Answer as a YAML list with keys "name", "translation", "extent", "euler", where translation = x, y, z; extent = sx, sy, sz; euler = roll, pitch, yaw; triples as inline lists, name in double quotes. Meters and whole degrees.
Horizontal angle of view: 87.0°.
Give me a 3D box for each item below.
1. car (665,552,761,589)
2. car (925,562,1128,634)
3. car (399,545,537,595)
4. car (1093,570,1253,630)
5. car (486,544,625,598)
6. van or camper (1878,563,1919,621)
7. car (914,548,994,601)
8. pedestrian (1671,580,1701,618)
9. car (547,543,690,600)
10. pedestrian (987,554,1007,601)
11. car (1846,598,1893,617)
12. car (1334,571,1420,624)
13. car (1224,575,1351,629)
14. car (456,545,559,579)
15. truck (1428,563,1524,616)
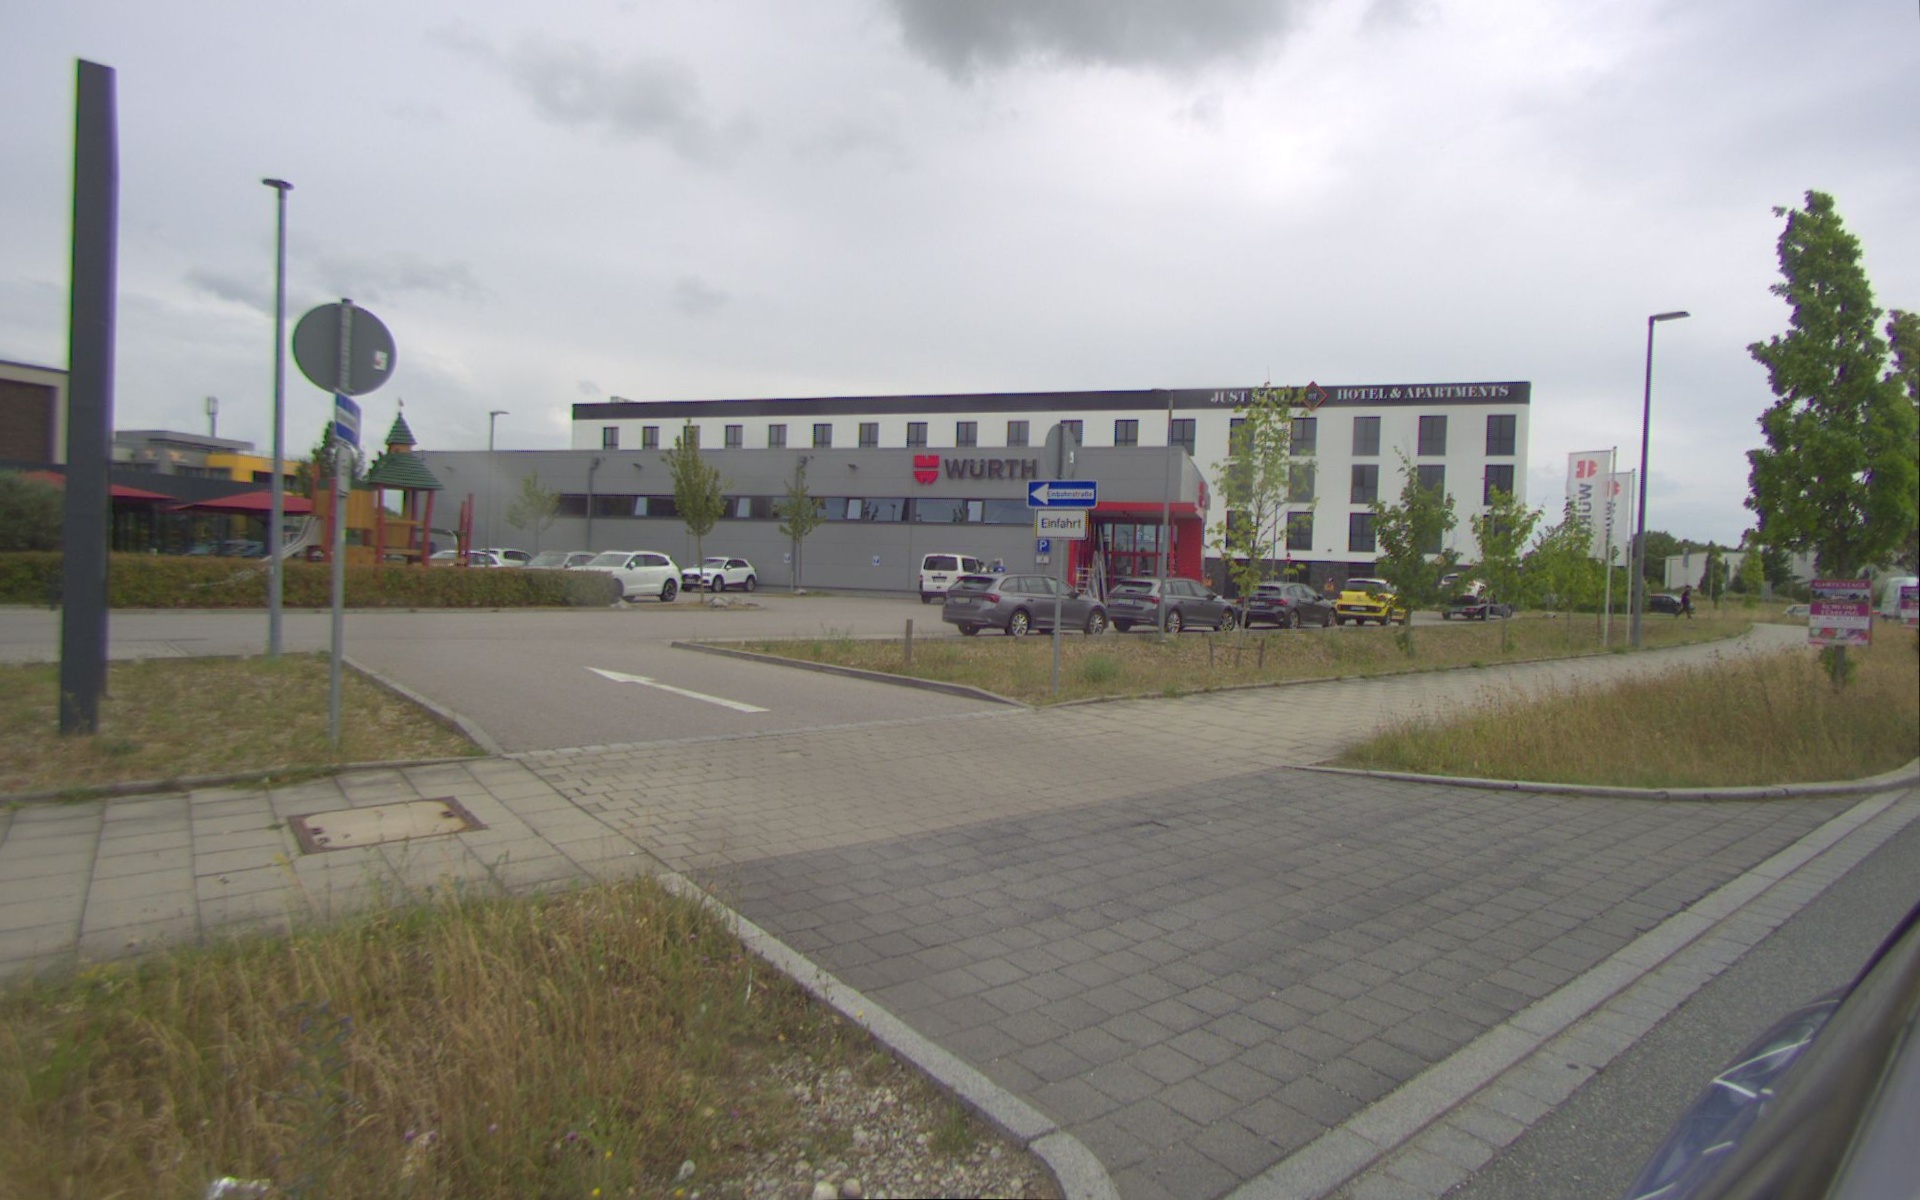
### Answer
- name: "car"
  translation: [-11.226, -1.341, 46.341]
  extent: [2.056, 1.537, 4.546]
  euler: [3, 2, 21]
- name: "car"
  translation: [1.639, -0.054, 23.588]
  extent: [4.749, 1.478, 1.965]
  euler: [0, 2, -42]
- name: "car"
  translation: [-17.557, -1.059, 36.341]
  extent: [1.961, 1.649, 4.299]
  euler: [2, 1, 20]
- name: "car"
  translation: [5.815, -0.013, 27.252]
  extent: [4.800, 1.455, 1.865]
  euler: [0, 2, -45]
- name: "car"
  translation: [-13.754, -0.978, 34.711]
  extent: [2.104, 1.699, 4.515]
  euler: [2, 1, 16]
- name: "van or camper"
  translation: [45.800, -0.335, 47.526]
  extent: [2.242, 2.649, 5.650]
  euler: [2, 1, 24]
- name: "car"
  translation: [-0.173, -1.037, 41.706]
  extent: [1.973, 2.012, 4.611]
  euler: [2, 1, 17]
- name: "pedestrian"
  translation: [37.251, -0.079, 51.948]
  extent: [1.188, 1.880, 1.061]
  euler: [3, 3, 35]
- name: "car"
  translation: [-11.258, -0.940, 33.747]
  extent: [1.975, 1.718, 4.762]
  euler: [2, 1, 20]
- name: "pedestrian"
  translation: [1.517, -0.913, 41.247]
  extent: [0.605, 1.892, 0.798]
  euler: [1, 1, 14]
- name: "car"
  translation: [71.301, 0.564, 79.392]
  extent: [1.772, 1.337, 3.962]
  euler: [1, 1, 28]
- name: "car"
  translation: [14.858, -0.111, 35.942]
  extent: [1.759, 1.707, 4.352]
  euler: [3, 2, 37]
- name: "car"
  translation: [10.276, 0.004, 31.546]
  extent: [1.994, 1.515, 4.536]
  euler: [3, 3, 44]
- name: "car"
  translation: [-22.232, -1.837, 49.904]
  extent: [2.056, 1.537, 4.546]
  euler: [3, 2, 21]
- name: "truck"
  translation: [25.091, -0.494, 48.989]
  extent: [2.225, 2.354, 8.092]
  euler: [3, 2, 41]
